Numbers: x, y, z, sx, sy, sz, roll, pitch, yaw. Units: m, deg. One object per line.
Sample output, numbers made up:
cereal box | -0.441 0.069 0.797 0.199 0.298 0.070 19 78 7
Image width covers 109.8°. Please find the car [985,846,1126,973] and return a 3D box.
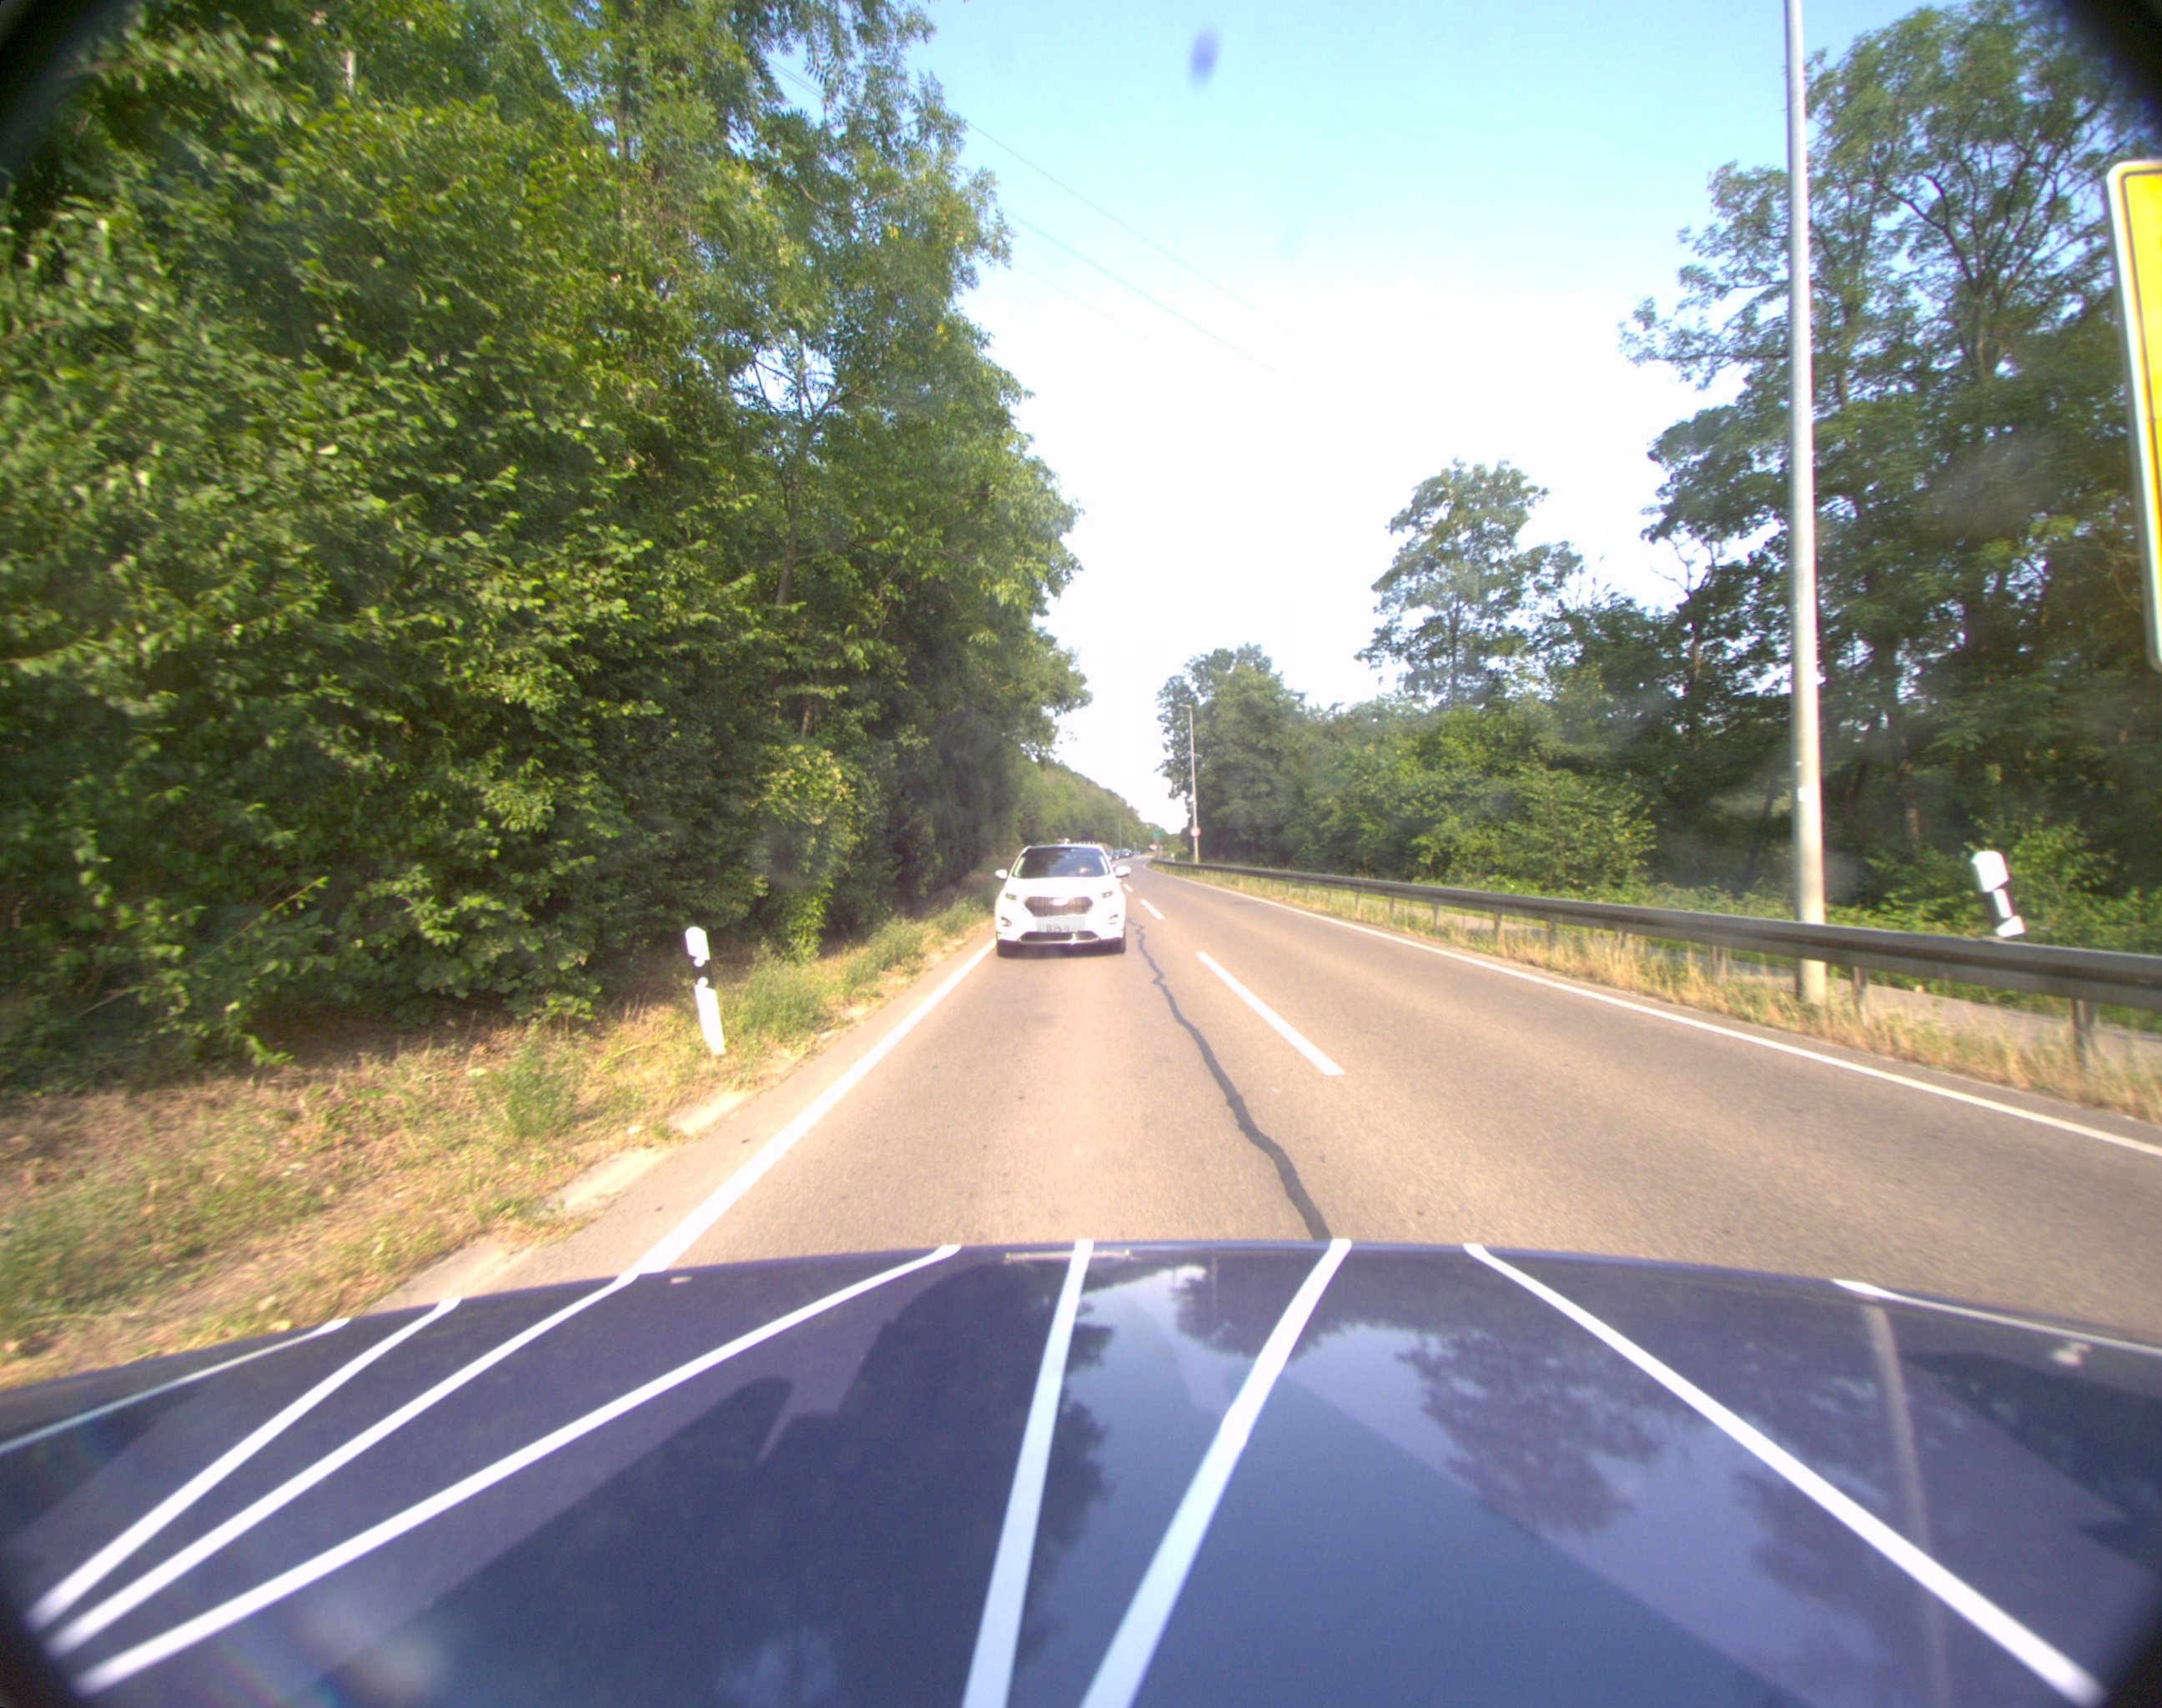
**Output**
car | -0.319 0.753 12.565 1.894 1.691 4.136 -2 1 1

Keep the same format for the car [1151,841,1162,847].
car | 19.781 -2.632 199.403 1.996 1.697 4.004 -2 1 18

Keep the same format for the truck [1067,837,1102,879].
truck | 0.258 0.209 45.725 1.894 2.334 5.273 -2 1 1

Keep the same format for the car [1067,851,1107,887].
car | 0.288 0.647 35.496 1.704 1.477 4.136 -2 0 1
